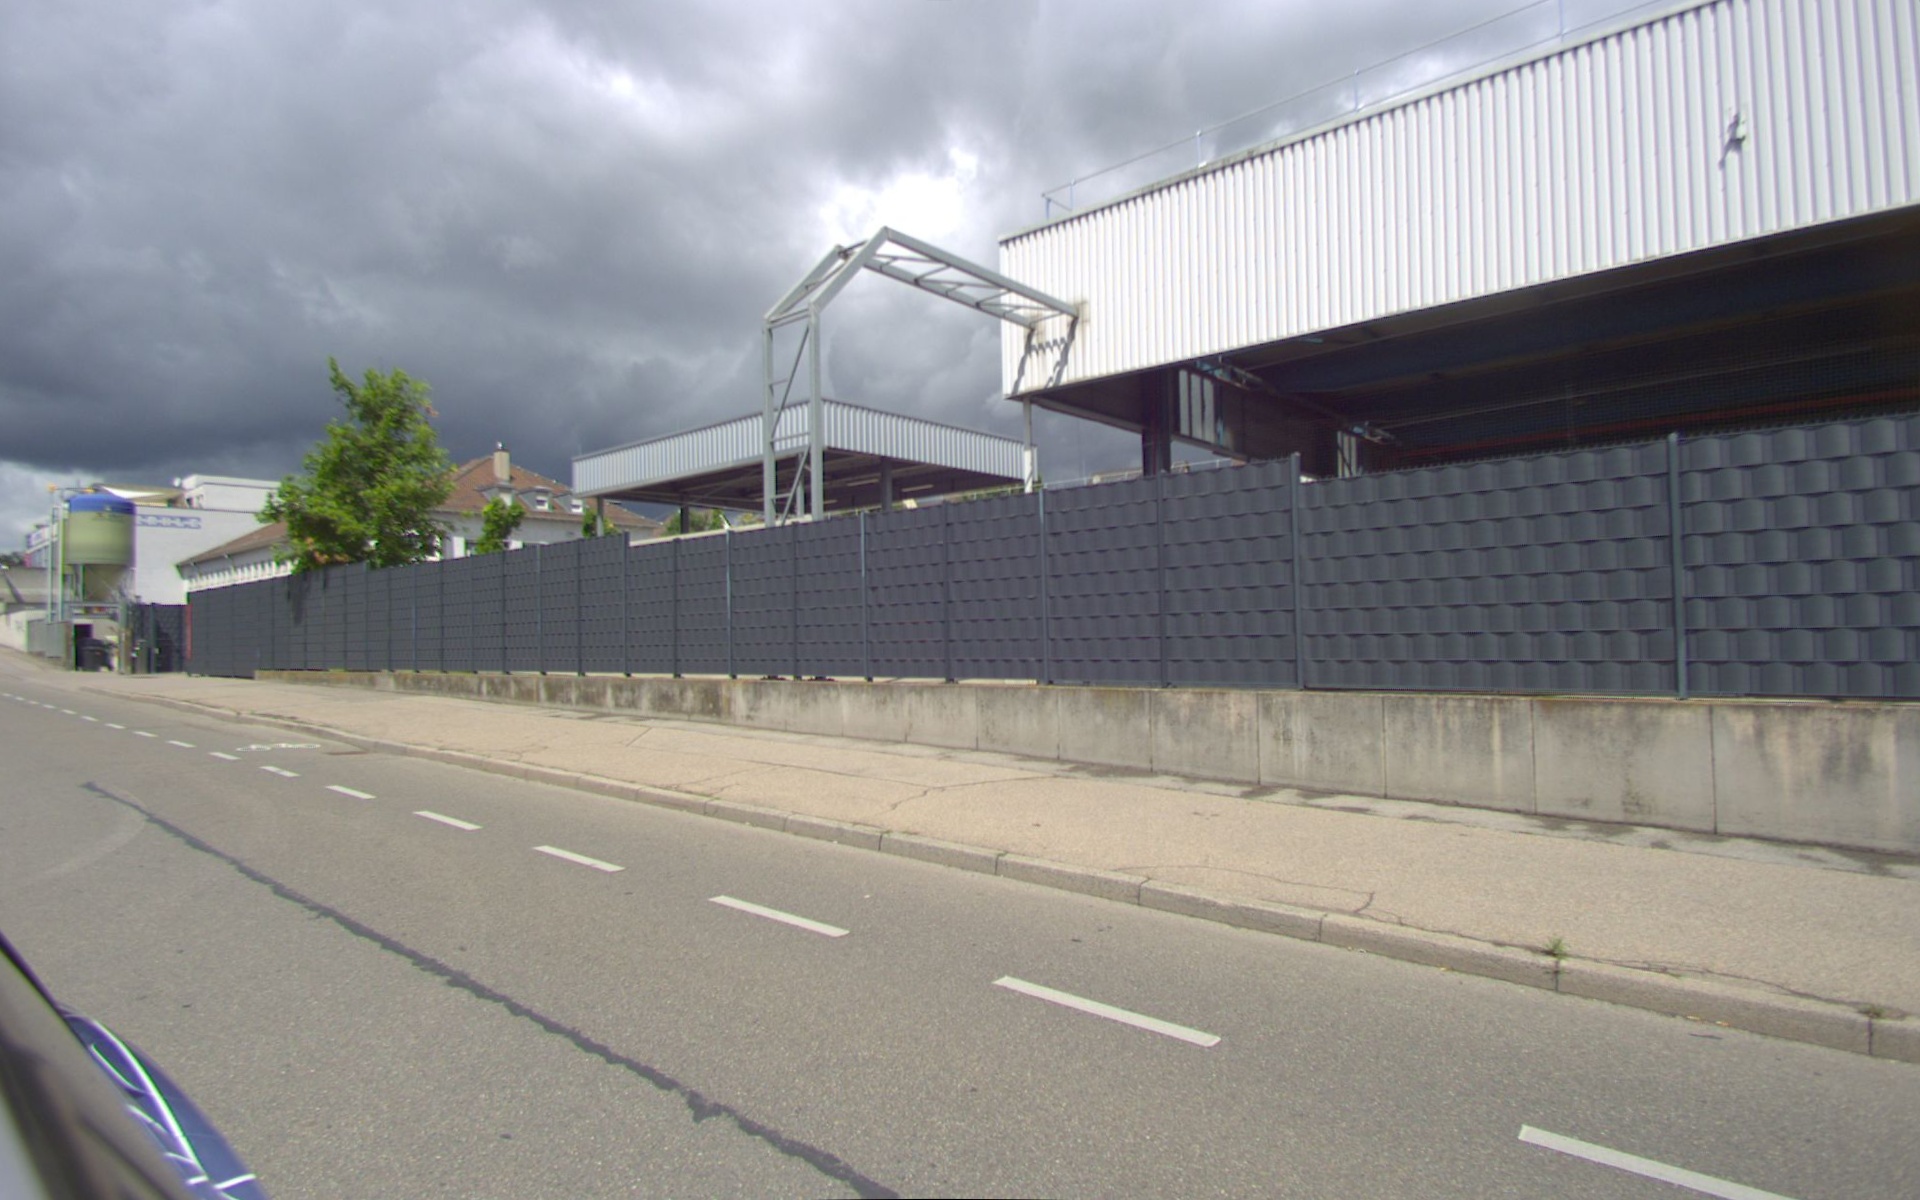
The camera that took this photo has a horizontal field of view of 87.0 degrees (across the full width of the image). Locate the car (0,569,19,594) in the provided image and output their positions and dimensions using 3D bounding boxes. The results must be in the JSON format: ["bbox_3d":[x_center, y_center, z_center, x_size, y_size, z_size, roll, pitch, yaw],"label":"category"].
[{"bbox_3d":[-65.148,-1.259,68.457,4.104,1.649,1.787,1,0,42],"label":"car"}]

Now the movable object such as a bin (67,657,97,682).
[{"bbox_3d":[-37.573,2.991,43.327,0.741,1.058,0.862,-3,-5,44],"label":"movable object such as a bin"}]

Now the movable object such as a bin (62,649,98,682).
[{"bbox_3d":[-38.273,2.849,44.016,1.215,1.404,0.980,-3,-5,42],"label":"movable object such as a bin"}]
